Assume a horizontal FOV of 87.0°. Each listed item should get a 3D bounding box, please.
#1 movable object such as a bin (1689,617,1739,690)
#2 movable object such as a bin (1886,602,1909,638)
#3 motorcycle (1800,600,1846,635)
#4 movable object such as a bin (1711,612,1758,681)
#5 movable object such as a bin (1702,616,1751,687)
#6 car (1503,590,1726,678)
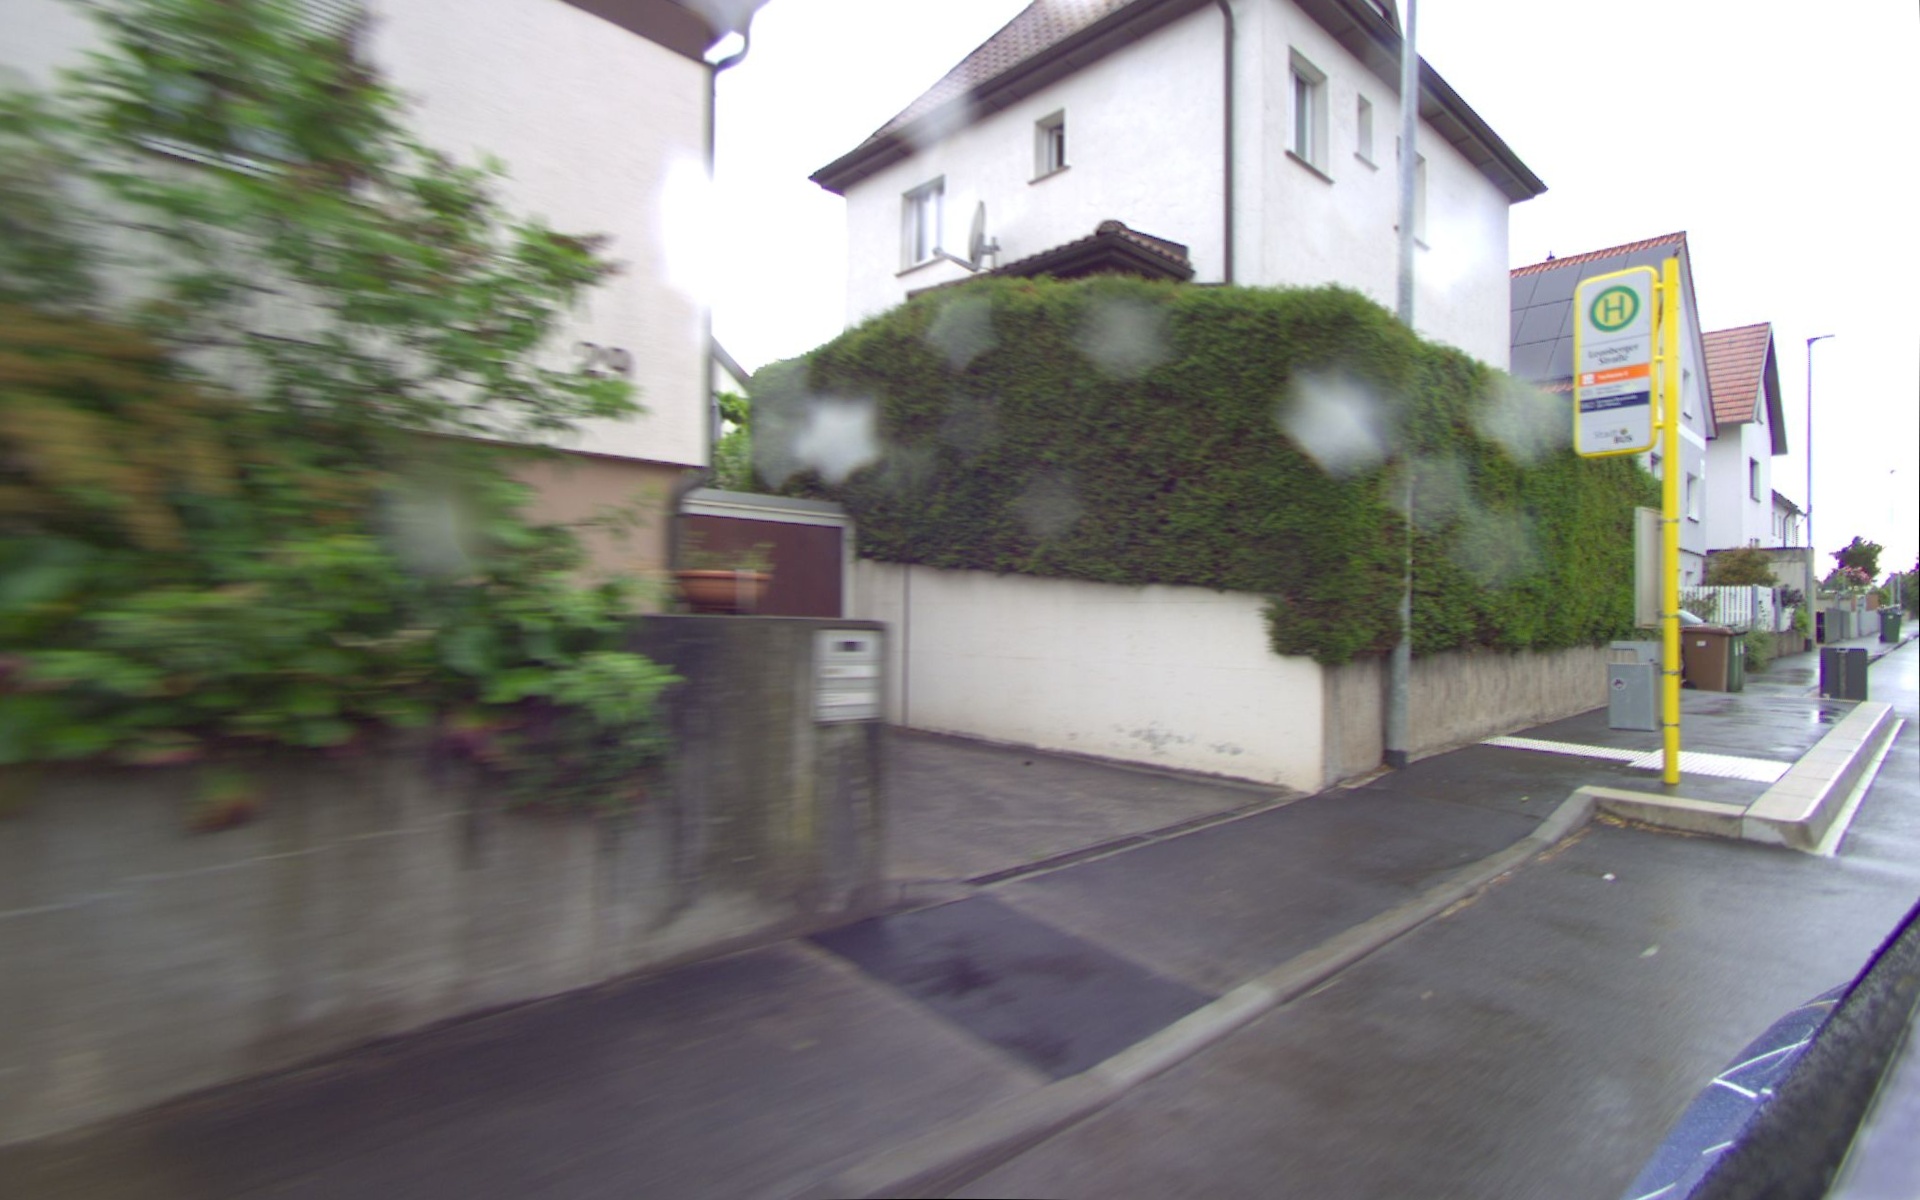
[{"bbox_3d":[11.796,0.827,15.835,0.568,1.090,0.515,0,0,44],"label":"movable object such as a bin"},{"bbox_3d":[32.290,0.669,34.848,0.568,1.201,0.529,1,1,44],"label":"movable object such as a bin"},{"bbox_3d":[27.268,0.541,31.986,0.546,1.025,1.149,1,2,7],"label":"motorcycle"},{"bbox_3d":[12.814,0.754,16.741,0.568,1.090,0.529,0,0,44],"label":"movable object such as a bin"},{"bbox_3d":[12.341,0.817,16.294,0.568,1.090,0.529,0,0,44],"label":"movable object such as a bin"},{"bbox_3d":[13.274,0.724,20.650,1.554,1.501,3.445,0,-6,-44],"label":"car"}]
